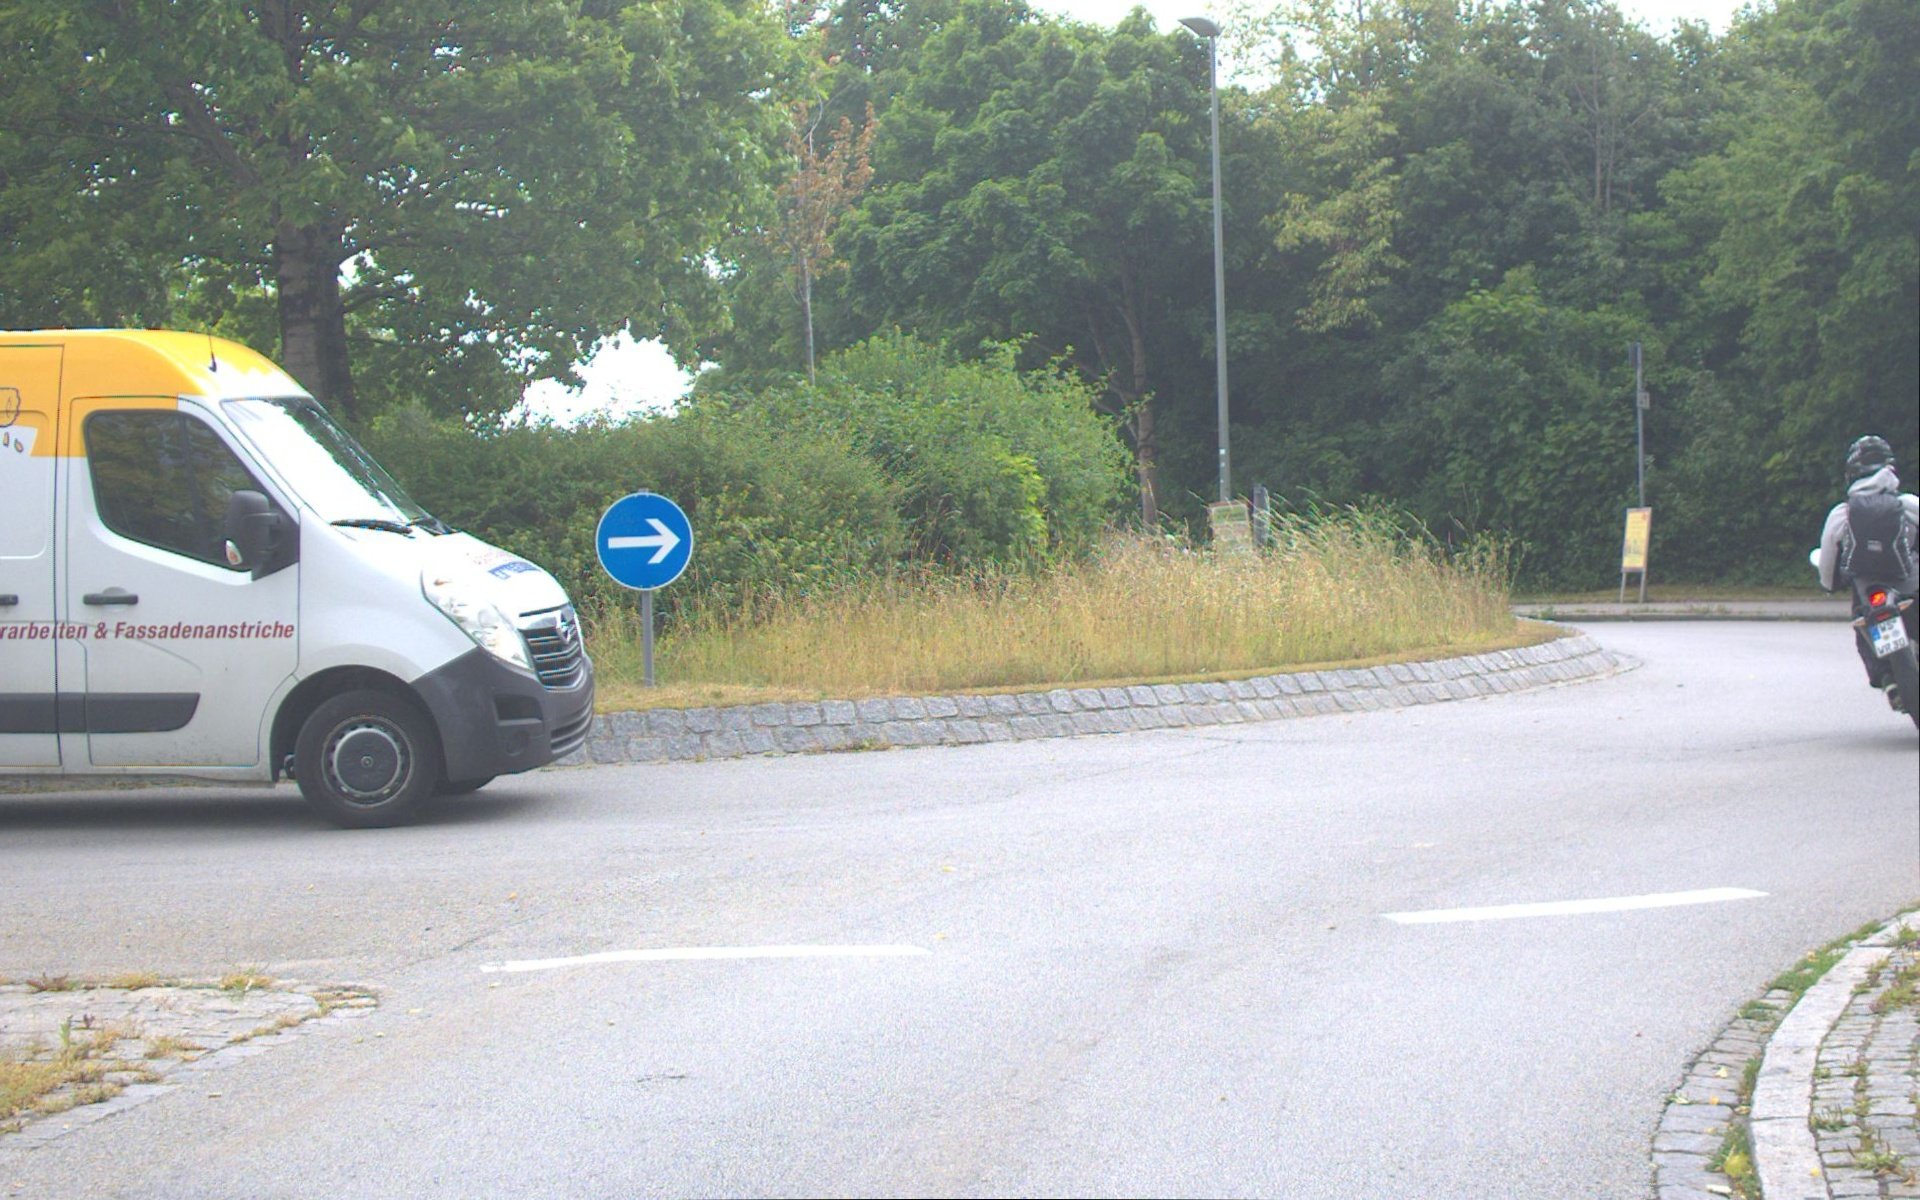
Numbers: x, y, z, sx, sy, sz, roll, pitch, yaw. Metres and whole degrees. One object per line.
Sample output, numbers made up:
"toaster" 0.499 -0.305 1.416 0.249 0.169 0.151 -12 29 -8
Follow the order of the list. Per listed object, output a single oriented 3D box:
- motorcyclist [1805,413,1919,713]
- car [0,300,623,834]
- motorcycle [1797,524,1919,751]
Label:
"motorcyclist" 5.220 -0.219 19.199 0.862 1.618 1.190 -1 2 18
"car" -4.628 -0.158 17.316 5.425 2.443 2.169 -1 2 7
"motorcycle" 5.268 0.168 19.248 0.897 1.154 2.618 -1 2 18
